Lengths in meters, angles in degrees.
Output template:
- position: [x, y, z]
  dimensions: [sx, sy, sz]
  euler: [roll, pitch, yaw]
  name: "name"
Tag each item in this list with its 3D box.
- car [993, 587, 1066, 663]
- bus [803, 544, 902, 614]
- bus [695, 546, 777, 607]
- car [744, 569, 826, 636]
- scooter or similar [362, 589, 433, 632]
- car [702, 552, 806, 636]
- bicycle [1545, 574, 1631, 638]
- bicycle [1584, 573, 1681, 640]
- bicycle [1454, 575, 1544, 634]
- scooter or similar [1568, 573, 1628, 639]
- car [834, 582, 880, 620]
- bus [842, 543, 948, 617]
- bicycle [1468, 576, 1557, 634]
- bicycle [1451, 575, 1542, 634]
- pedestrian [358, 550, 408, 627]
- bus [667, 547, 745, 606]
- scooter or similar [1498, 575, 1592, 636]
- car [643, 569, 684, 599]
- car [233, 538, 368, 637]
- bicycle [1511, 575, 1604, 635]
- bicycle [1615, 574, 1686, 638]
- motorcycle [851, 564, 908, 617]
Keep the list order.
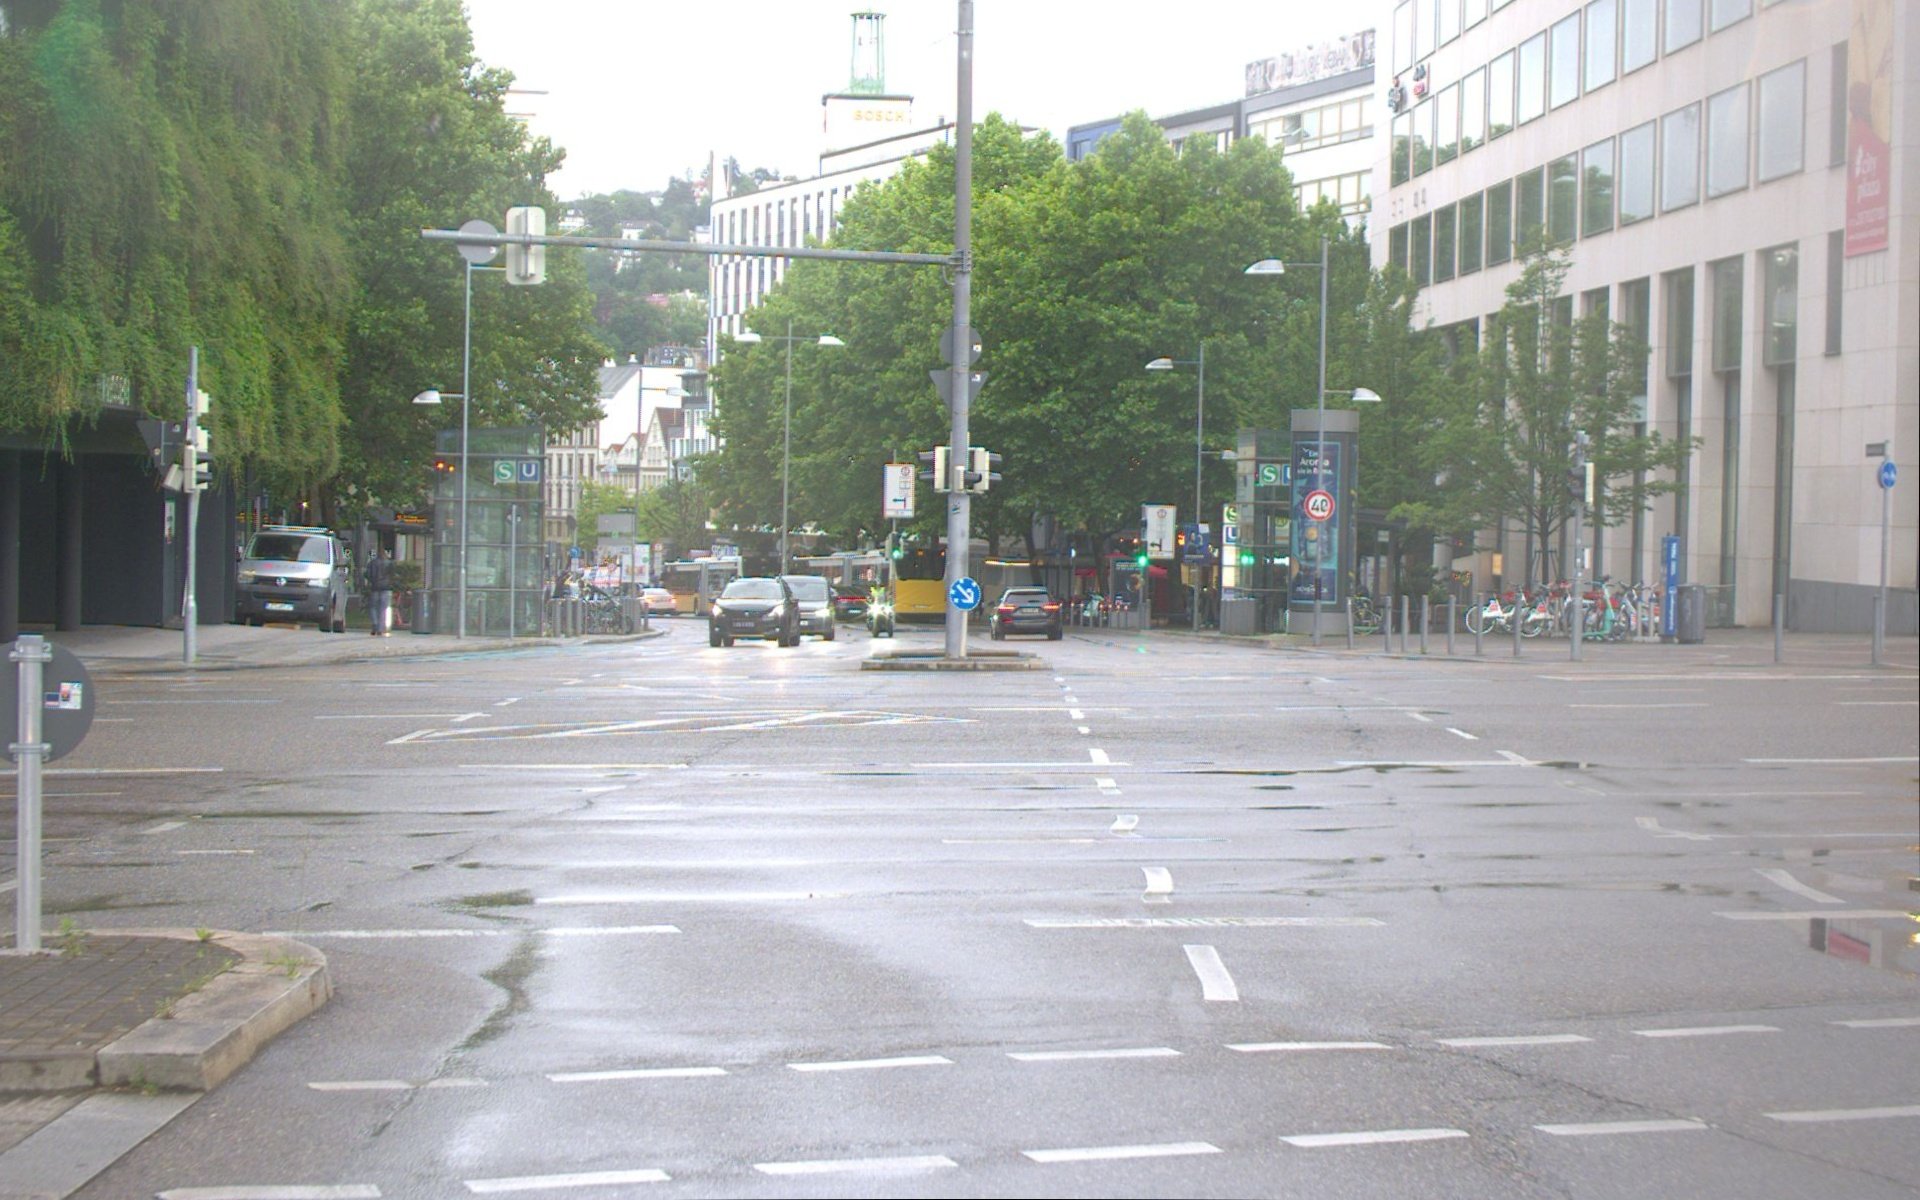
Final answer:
- position: [1.935, 0.659, 94.080]
  dimensions: [1.544, 2.007, 4.667]
  euler: [1, 0, 7]
  name: "car"
- position: [-4.779, -0.953, 151.184]
  dimensions: [2.627, 2.985, 7.451]
  euler: [0, 1, -16]
  name: "bus"
- position: [-11.206, -1.189, 171.335]
  dimensions: [2.627, 2.985, 7.330]
  euler: [0, 1, -16]
  name: "bus"
- position: [-4.810, 0.053, 94.072]
  dimensions: [2.164, 1.759, 5.112]
  euler: [1, 0, -3]
  name: "car"
- position: [-13.200, 0.236, 80.640]
  dimensions: [0.623, 1.001, 1.657]
  euler: [1, 1, 38]
  name: "scooter or similar"
- position: [-4.513, -0.129, 75.432]
  dimensions: [2.164, 1.759, 5.112]
  euler: [1, 0, -3]
  name: "car"
- position: [11.765, 0.108, 64.471]
  dimensions: [0.584, 1.190, 1.783]
  euler: [1, 0, -28]
  name: "bicycle"
- position: [12.307, 0.117, 62.918]
  dimensions: [1.624, 1.190, 0.586]
  euler: [1, 0, 26]
  name: "bicycle"
- position: [11.202, 0.094, 71.485]
  dimensions: [1.777, 1.190, 0.586]
  euler: [1, 0, 2]
  name: "bicycle"
- position: [11.552, 0.107, 62.234]
  dimensions: [0.963, 1.190, 0.454]
  euler: [1, 0, 40]
  name: "scooter or similar"
- position: [-4.202, 0.036, 140.260]
  dimensions: [1.781, 1.503, 4.000]
  euler: [1, 0, -1]
  name: "car"
- position: [-2.770, -0.867, 144.036]
  dimensions: [2.627, 2.985, 7.451]
  euler: [0, 1, -16]
  name: "bus"
- position: [11.631, 0.099, 72.402]
  dimensions: [1.777, 1.190, 0.586]
  euler: [1, 0, 2]
  name: "bicycle"
- position: [11.054, 0.092, 70.850]
  dimensions: [1.777, 1.190, 0.586]
  euler: [1, 0, 2]
  name: "bicycle"
- position: [-12.389, -0.239, 73.826]
  dimensions: [0.933, 1.638, 0.774]
  euler: [1, 0, -1]
  name: "pedestrian"
- position: [-13.216, -1.258, 178.433]
  dimensions: [2.627, 2.985, 7.451]
  euler: [0, 1, -16]
  name: "bus"
- position: [11.746, 0.103, 69.058]
  dimensions: [1.777, 1.190, 0.586]
  euler: [1, 0, 2]
  name: "scooter or similar"
- position: [-15.290, -0.826, 177.614]
  dimensions: [1.781, 1.503, 4.000]
  euler: [1, 0, -1]
  name: "car"
- position: [-12.704, -0.229, 66.426]
  dimensions: [1.870, 1.833, 4.000]
  euler: [1, 0, -1]
  name: "car"
- position: [12.100, 0.108, 69.681]
  dimensions: [1.777, 1.190, 0.586]
  euler: [1, 0, 2]
  name: "bicycle"
- position: [13.069, 0.125, 65.027]
  dimensions: [0.586, 1.190, 1.779]
  euler: [1, 0, 38]
  name: "bicycle"
- position: [-2.418, -0.283, 102.808]
  dimensions: [1.551, 1.509, 4.385]
  euler: [1, 0, -3]
  name: "motorcycle"
